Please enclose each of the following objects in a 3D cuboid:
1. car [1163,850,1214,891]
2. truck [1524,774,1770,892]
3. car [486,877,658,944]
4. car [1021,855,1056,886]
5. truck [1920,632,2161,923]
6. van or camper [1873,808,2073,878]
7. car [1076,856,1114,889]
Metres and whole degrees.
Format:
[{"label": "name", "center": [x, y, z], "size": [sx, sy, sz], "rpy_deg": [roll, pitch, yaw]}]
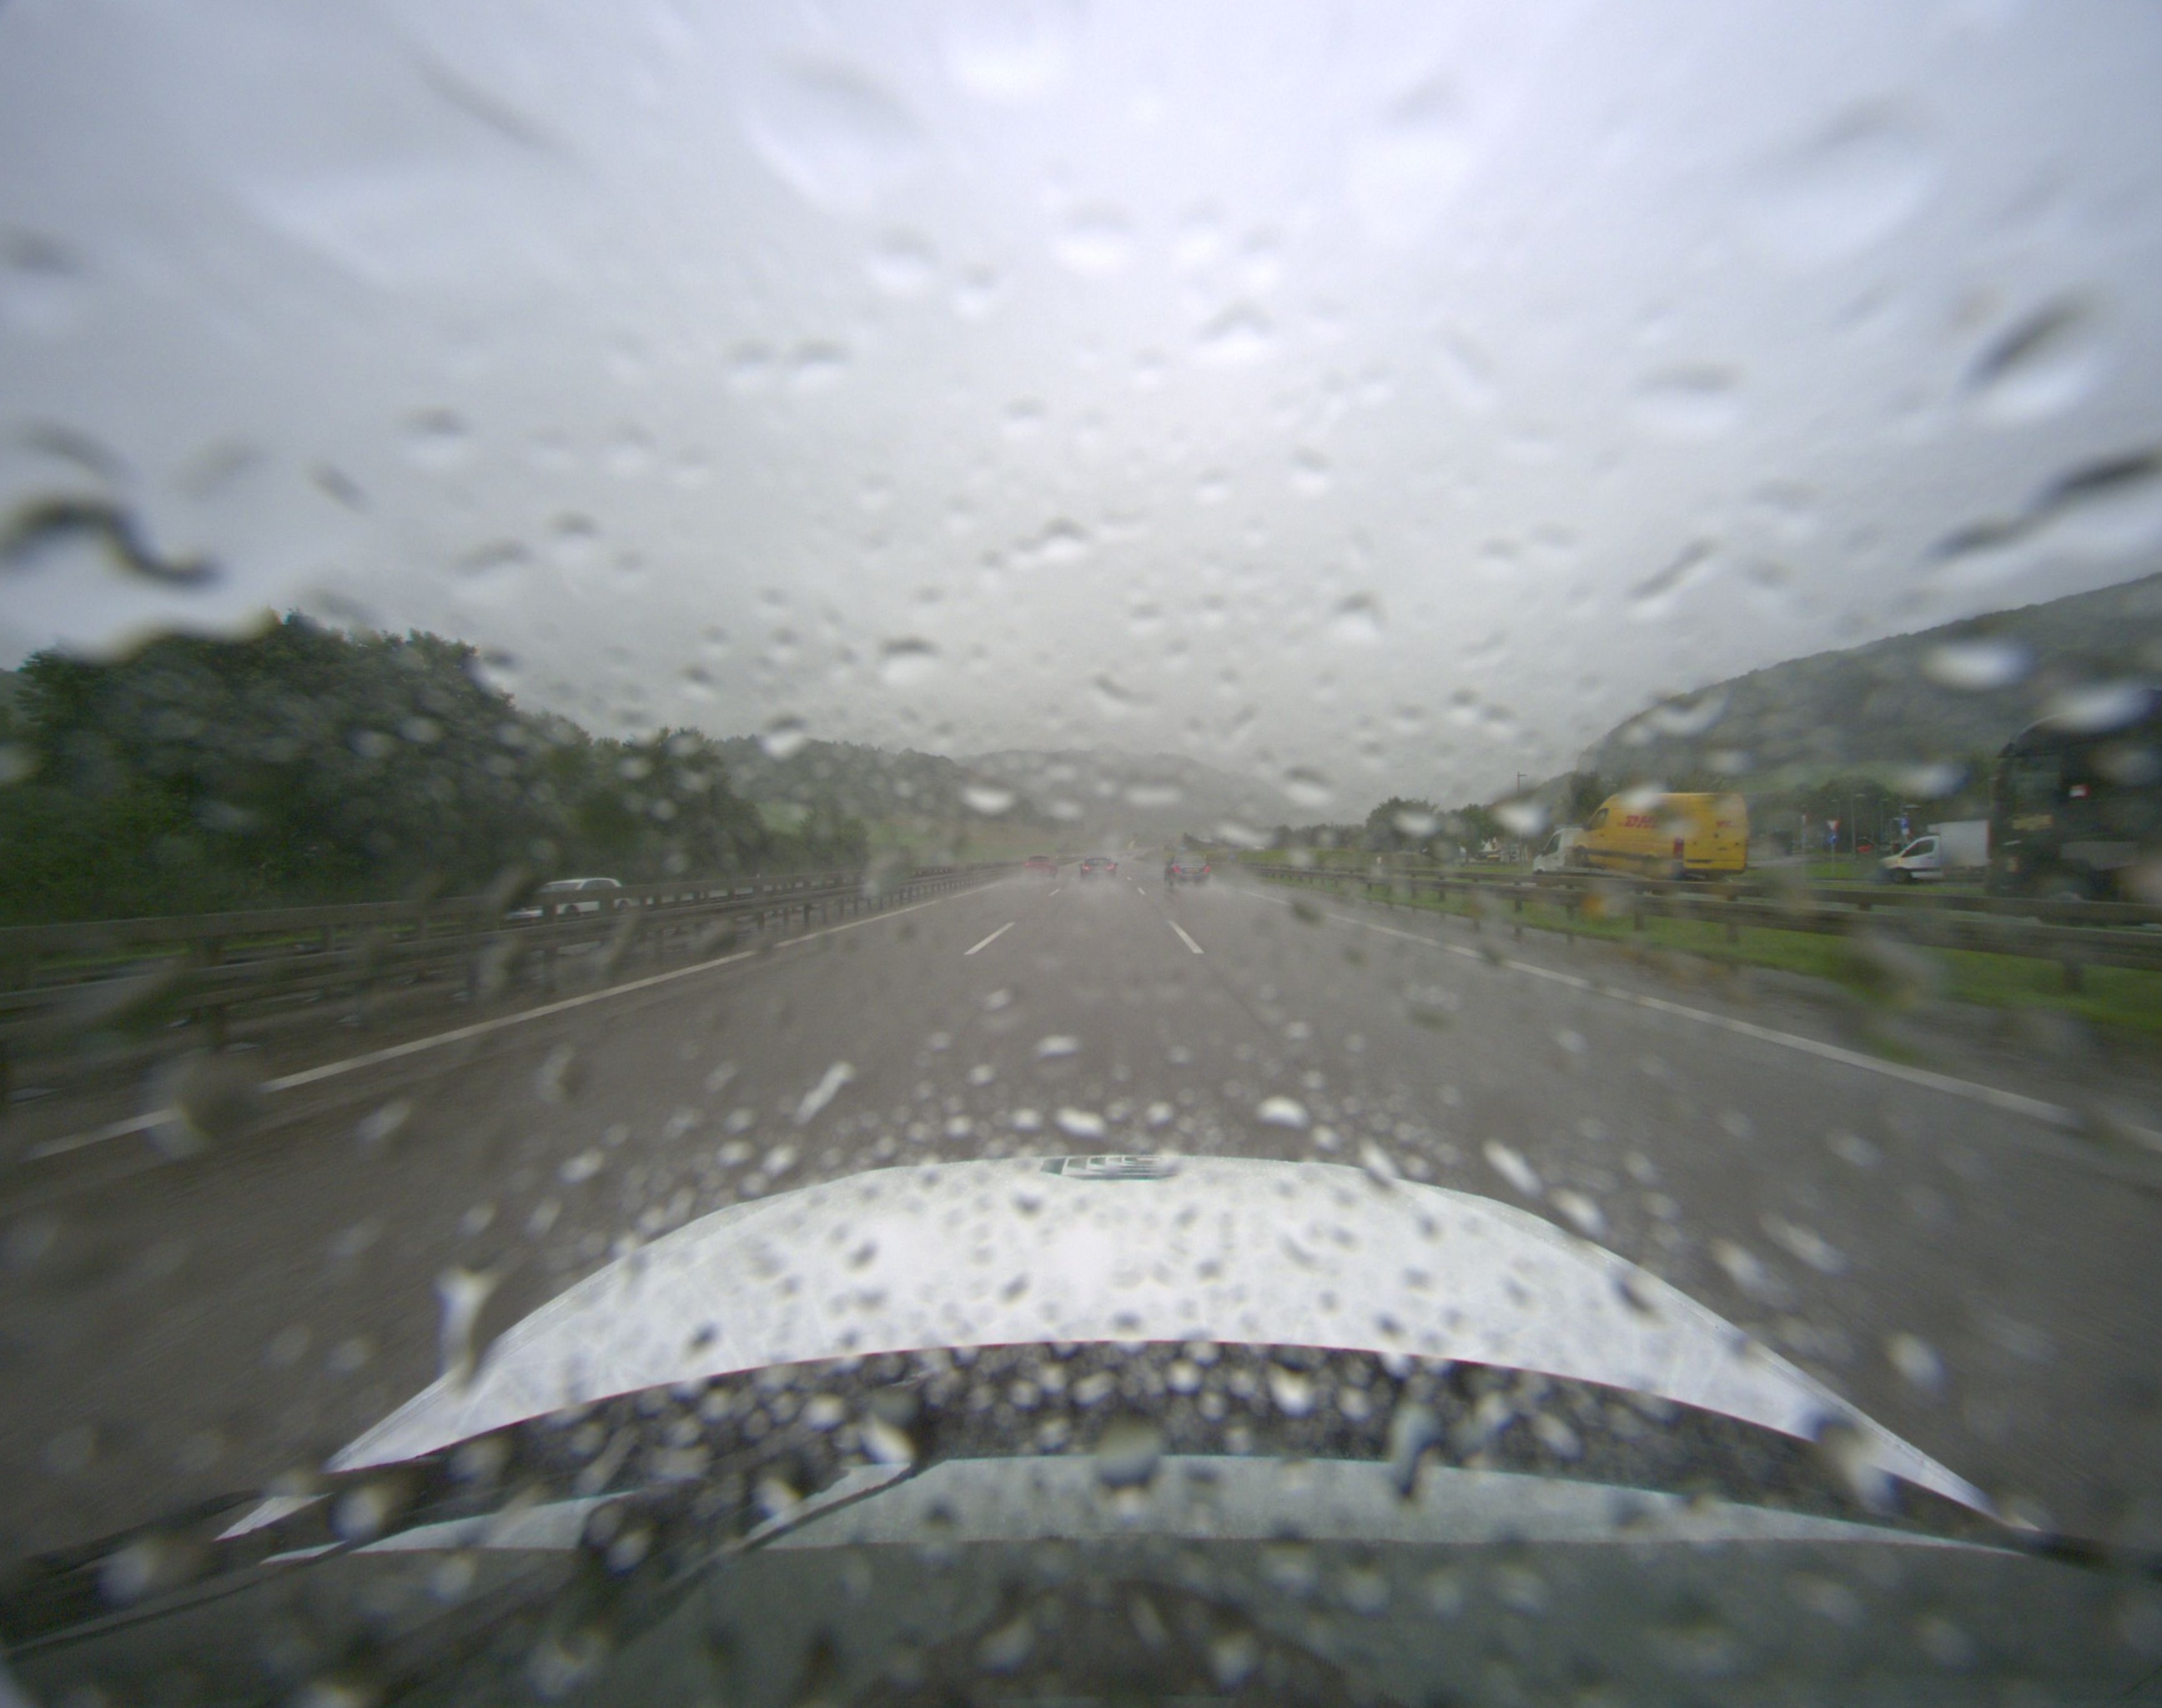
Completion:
[{"label": "car", "center": [5.015, 0.749, 38.387], "size": [1.964, 1.760, 4.002], "rpy_deg": [-2, 0, 2]}, {"label": "truck", "center": [17.631, -0.533, 26.344], "size": [2.281, 3.147, 8.872], "rpy_deg": [0, 0, 4]}, {"label": "car", "center": [-16.028, 1.690, 26.081], "size": [1.986, 1.692, 5.306], "rpy_deg": [-2, 0, 2]}, {"label": "car", "center": [-2.649, 0.994, 51.771], "size": [1.878, 1.816, 4.001], "rpy_deg": [-1, 0, 1]}, {"label": "truck", "center": [17.401, -1.121, 11.364], "size": [3.513, 4.220, 7.821], "rpy_deg": [0, 0, 2]}, {"label": "van or camper", "center": [41.967, -0.460, 38.529], "size": [2.007, 3.059, 6.110], "rpy_deg": [0, -1, -32]}, {"label": "car", "center": [0.750, 0.894, 41.199], "size": [1.852, 1.589, 4.002], "rpy_deg": [0, 0, 2]}]
